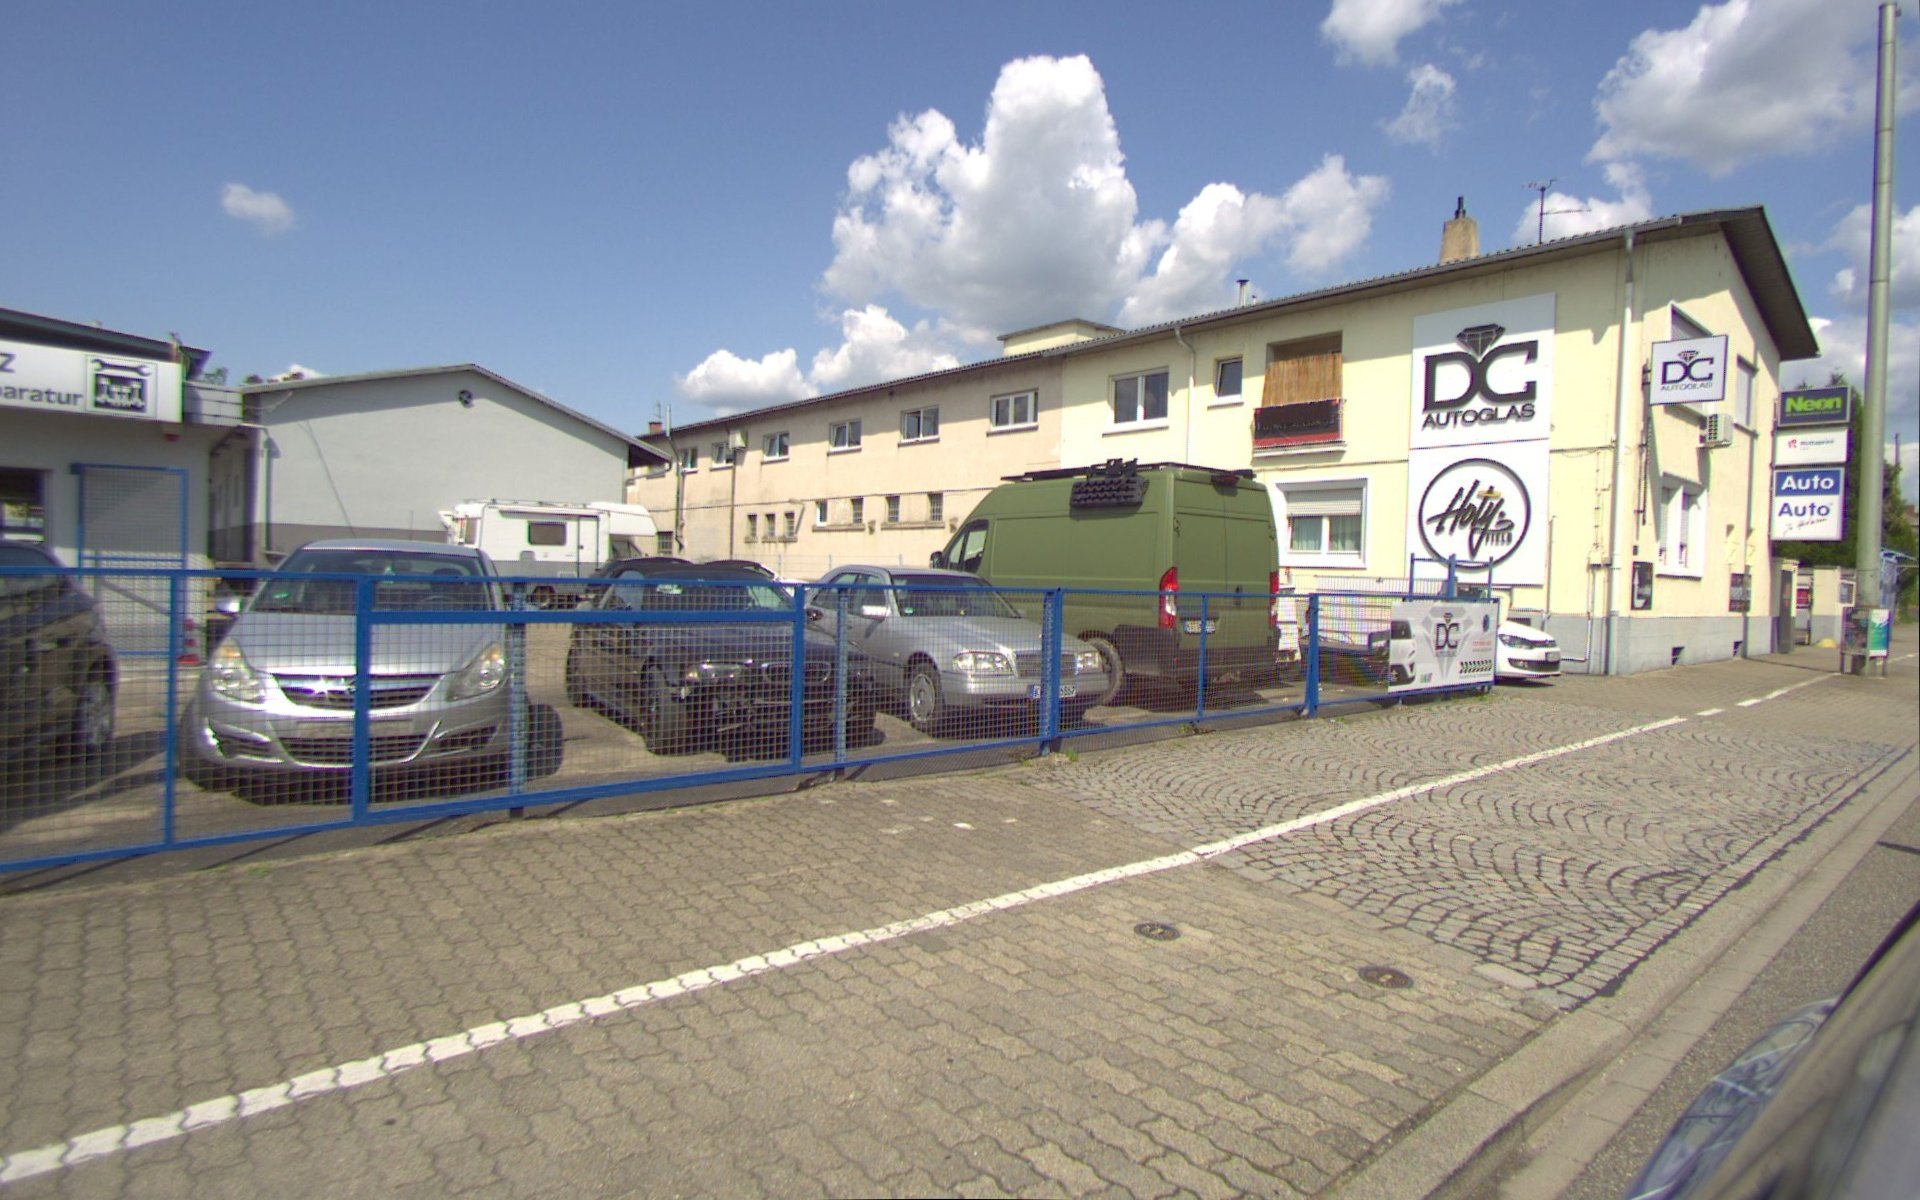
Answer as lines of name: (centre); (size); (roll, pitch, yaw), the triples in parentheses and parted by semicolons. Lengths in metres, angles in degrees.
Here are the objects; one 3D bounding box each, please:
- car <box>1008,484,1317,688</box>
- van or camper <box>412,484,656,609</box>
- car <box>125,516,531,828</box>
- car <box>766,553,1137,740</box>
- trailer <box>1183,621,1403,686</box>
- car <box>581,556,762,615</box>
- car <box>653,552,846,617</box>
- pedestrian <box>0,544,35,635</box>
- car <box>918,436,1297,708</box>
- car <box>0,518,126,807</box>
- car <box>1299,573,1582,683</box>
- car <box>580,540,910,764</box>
car: (2.677, -0.246, 14.261); (1.557, 2.436, 4.208); (1, 2, -39)
van or camper: (-11.295, -1.322, 27.108); (5.556, 3.002, 2.272); (0, 2, -42)
car: (-3.891, 0.281, 6.837); (1.736, 1.470, 3.778); (1, 2, -24)
car: (-0.331, 0.287, 10.199); (1.679, 1.470, 4.292); (1, 2, -33)
trailer: (4.757, 0.725, 14.646); (1.307, 0.674, 2.730); (0, 2, -42)
car: (-7.298, -0.357, 25.807); (4.112, 1.378, 1.645); (0, 2, -41)
car: (-4.836, -0.347, 23.544); (4.112, 1.378, 1.645); (0, 2, -41)
pedestrian: (-13.153, -0.155, 13.878); (0.652, 1.224, 0.566); (1, 1, -39)
car: (1.595, -0.349, 12.252); (2.075, 2.675, 4.208); (1, 2, -39)
car: (-5.629, 0.305, 4.866); (1.606, 1.470, 3.700); (1, 2, -25)
car: (7.542, 0.361, 16.174); (1.527, 1.481, 3.775); (1, 2, -39)
car: (-2.121, 0.274, 8.893); (1.737, 1.470, 4.128); (1, 2, -28)
